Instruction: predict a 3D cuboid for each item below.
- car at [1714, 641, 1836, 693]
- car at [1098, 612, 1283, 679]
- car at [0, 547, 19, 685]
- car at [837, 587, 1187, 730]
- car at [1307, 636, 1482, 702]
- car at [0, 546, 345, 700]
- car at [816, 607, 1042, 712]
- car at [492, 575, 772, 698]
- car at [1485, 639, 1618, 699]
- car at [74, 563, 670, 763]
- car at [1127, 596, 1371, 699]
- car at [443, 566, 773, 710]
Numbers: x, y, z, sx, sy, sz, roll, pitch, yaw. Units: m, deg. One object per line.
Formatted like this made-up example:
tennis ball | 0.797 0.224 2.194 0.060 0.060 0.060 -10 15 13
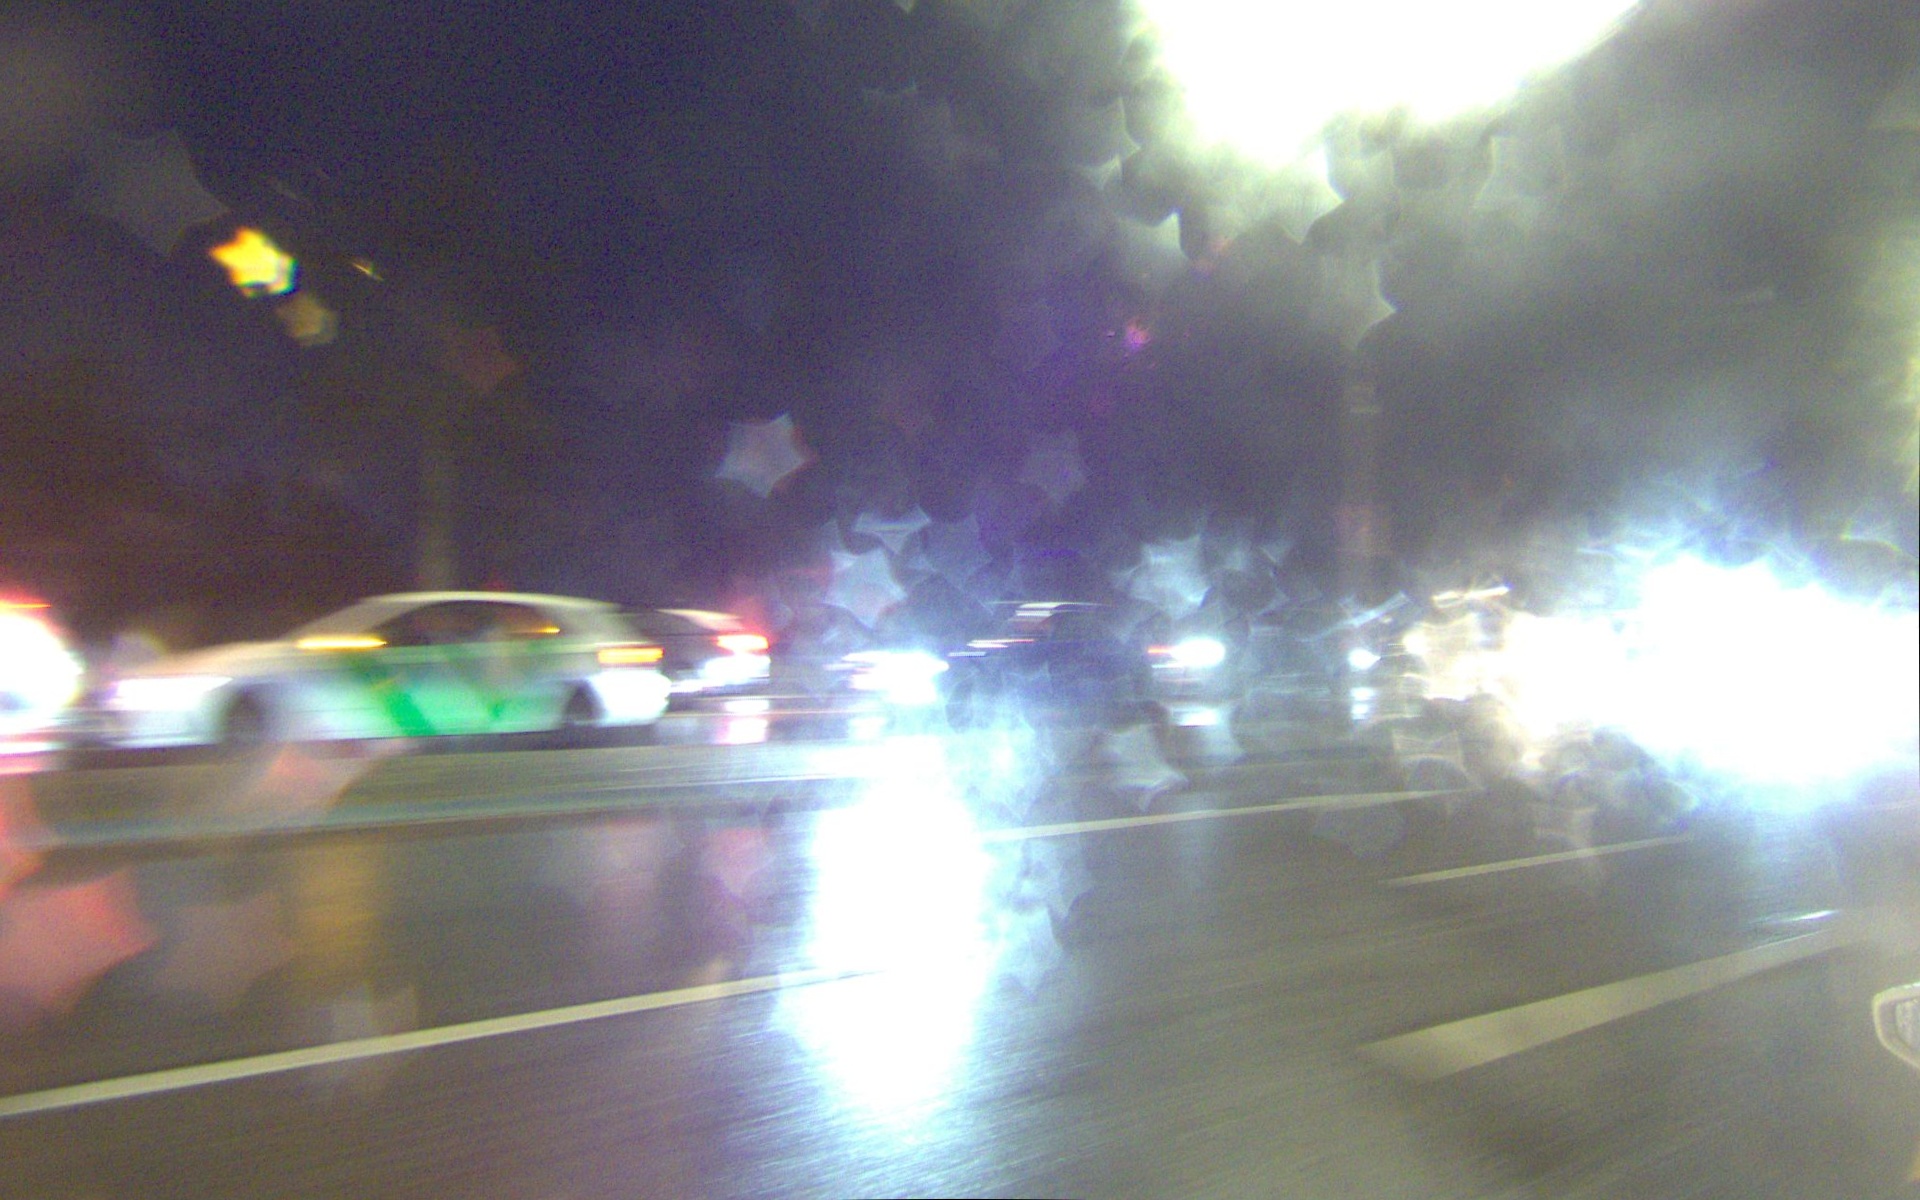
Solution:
car | 28.639 2.355 35.258 4.381 1.551 1.873 3 1 -31
car | 5.322 1.056 23.078 3.991 1.395 1.752 3 -1 -29
car | -12.016 0.064 9.585 4.003 1.506 1.708 4 -2 -25
car | 0.724 0.738 13.069 4.254 1.598 1.805 2 -2 -30
car | 11.349 1.820 26.189 4.478 1.558 1.844 4 -4 -29
car | -11.062 0.324 13.842 4.232 1.873 1.752 3 1 -29
car | -0.583 1.181 19.894 4.075 1.872 1.752 4 -2 -29
car | -5.520 0.633 17.010 4.199 1.823 1.790 3 1 -29
car | 17.589 2.029 29.842 4.094 1.623 1.487 2 0 -28
car | -5.105 0.527 9.346 4.356 1.503 1.770 2 0 -28
car | 5.522 0.911 19.084 4.434 1.688 1.790 3 1 -29
car | -4.742 0.556 13.616 3.929 1.687 1.791 4 -2 -29
